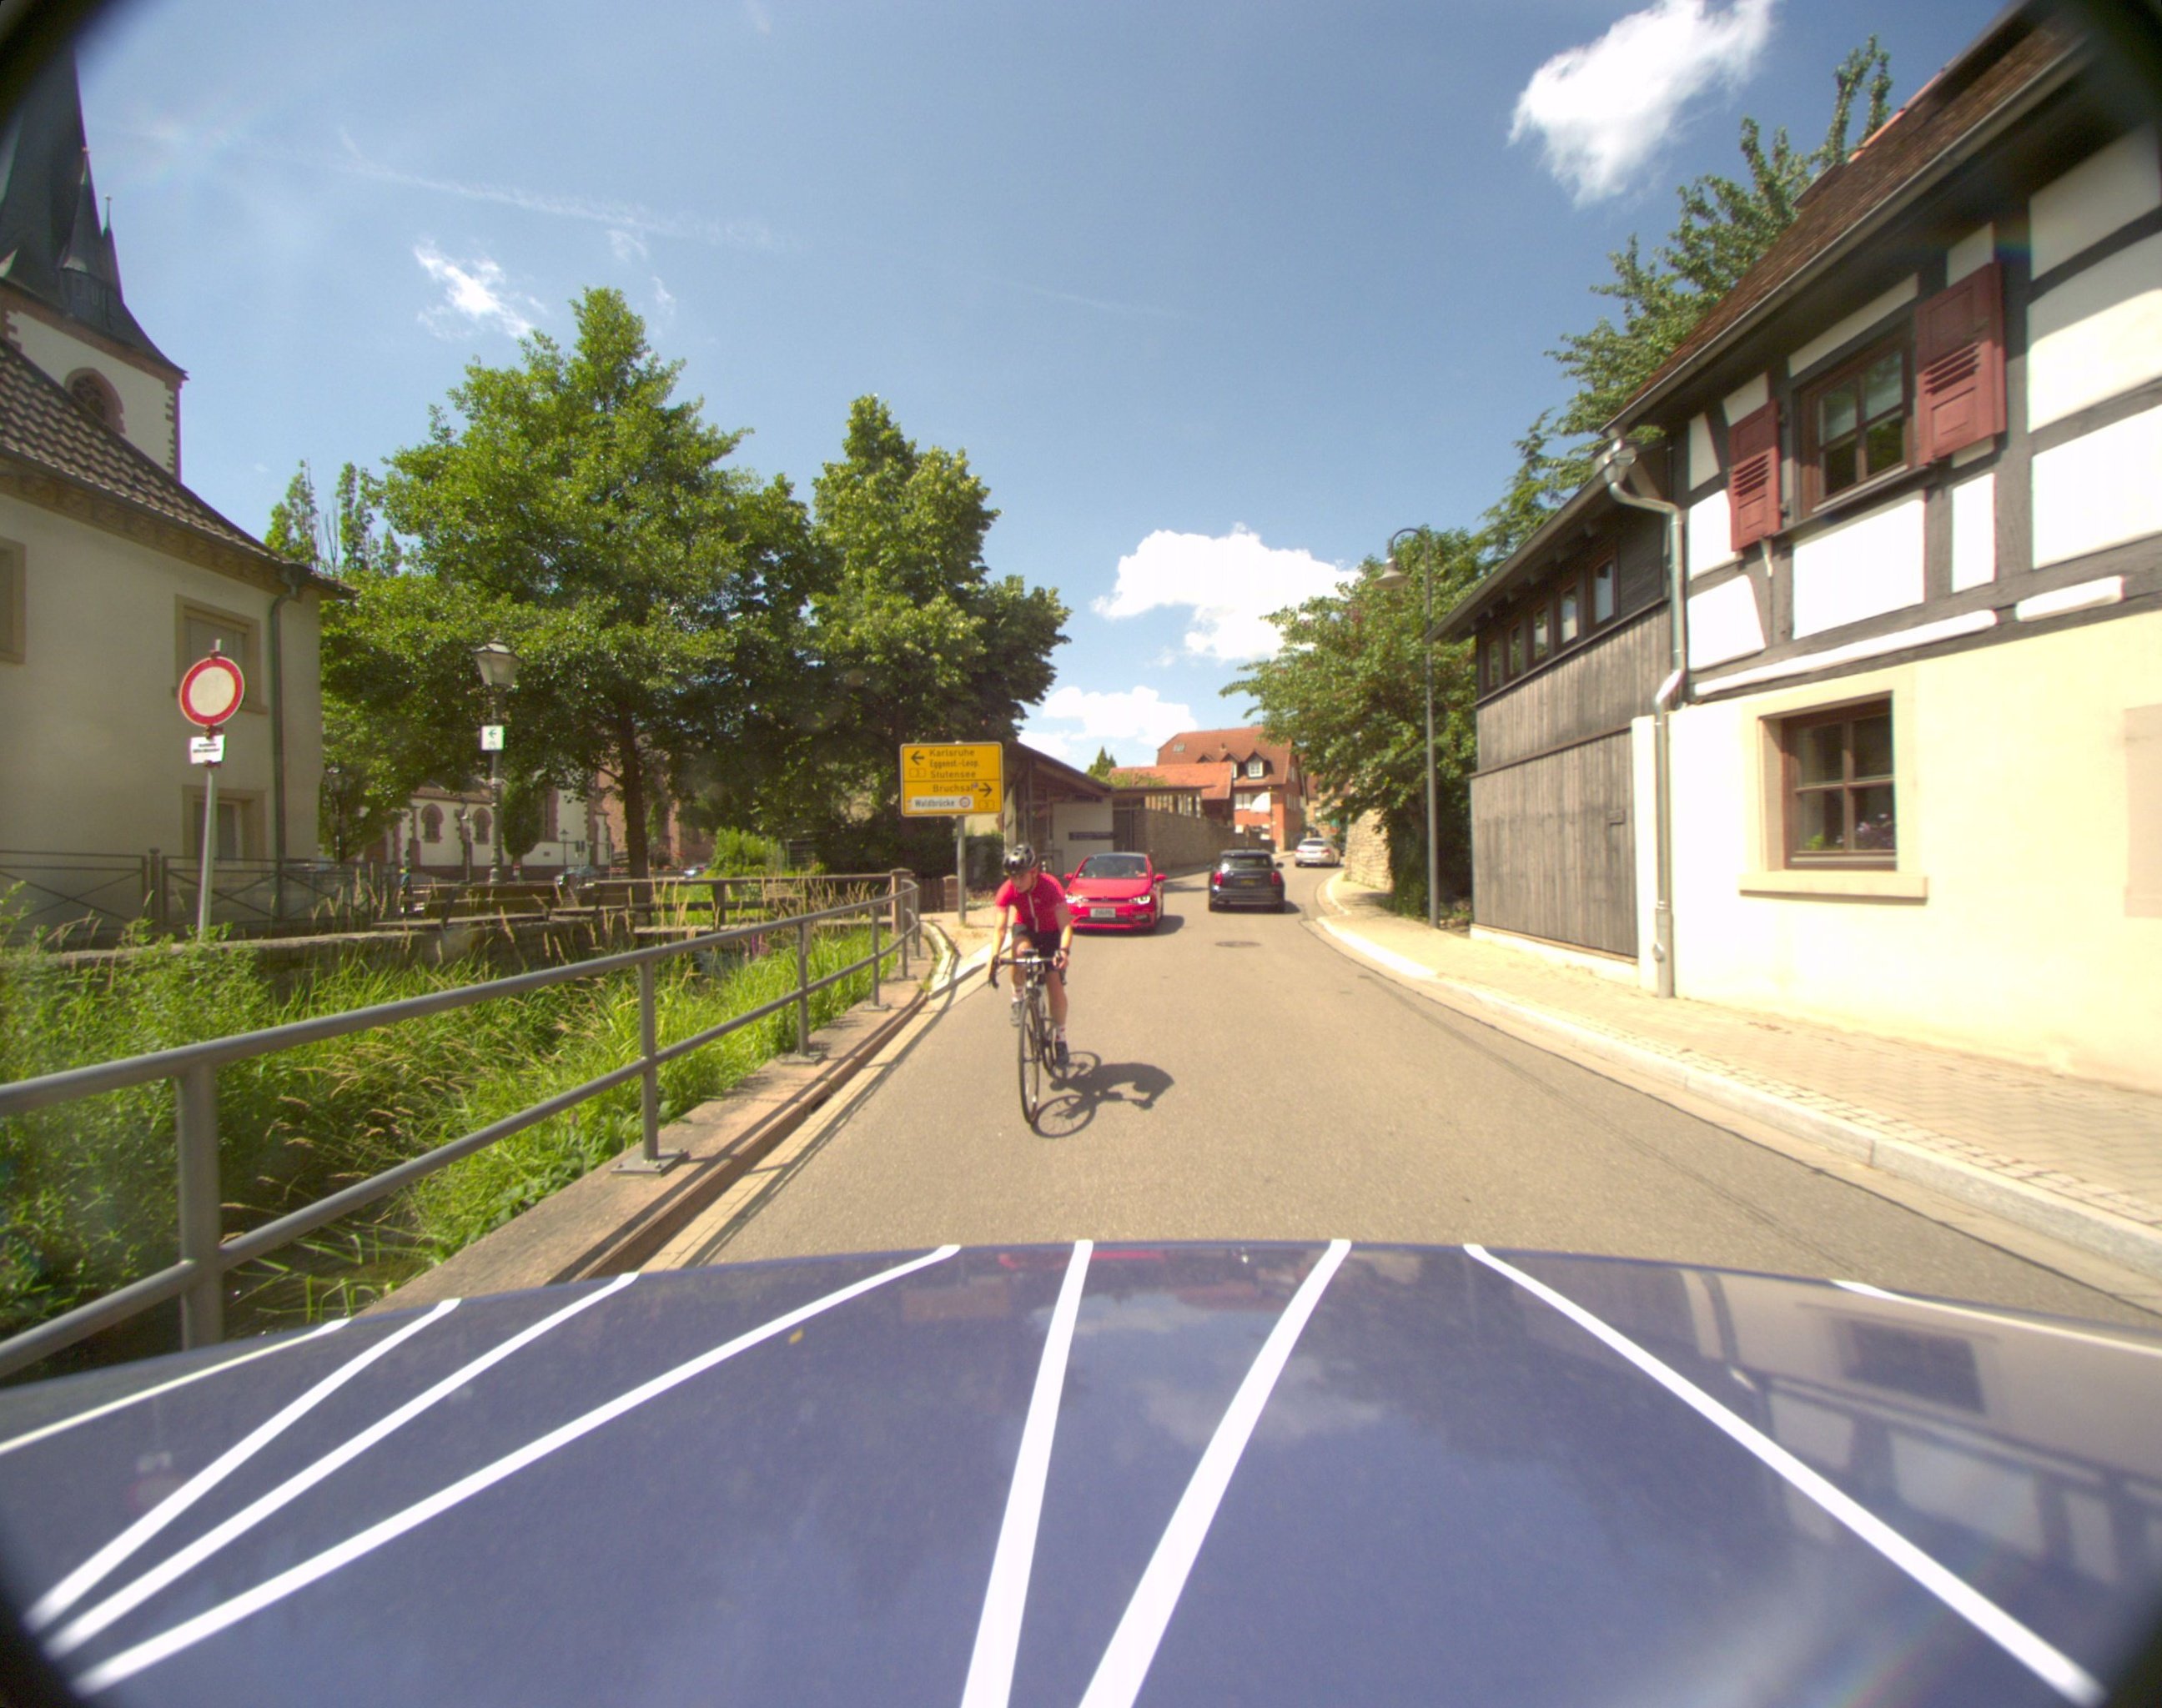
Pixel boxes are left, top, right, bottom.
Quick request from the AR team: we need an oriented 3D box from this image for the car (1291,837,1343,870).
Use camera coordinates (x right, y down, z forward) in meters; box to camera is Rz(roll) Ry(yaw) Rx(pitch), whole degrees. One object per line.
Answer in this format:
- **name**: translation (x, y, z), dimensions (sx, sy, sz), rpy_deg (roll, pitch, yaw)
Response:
- **car**: translation (12.214, -0.072, 39.143), dimensions (1.896, 1.492, 4.620), rpy_deg (3, 3, 24)

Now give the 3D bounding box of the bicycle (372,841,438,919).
- **bicycle**: translation (-18.917, 0.692, 21.323), dimensions (0.784, 2.002, 2.660), rpy_deg (-5, 2, -32)

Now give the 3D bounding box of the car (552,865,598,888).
- **car**: translation (-36.881, 1.627, 55.451), dimensions (1.671, 1.496, 3.805), rpy_deg (-2, 1, -16)

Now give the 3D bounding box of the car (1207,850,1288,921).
- **car**: translation (4.121, 0.658, 18.630), dimensions (1.701, 1.457, 4.439), rpy_deg (1, 1, 14)

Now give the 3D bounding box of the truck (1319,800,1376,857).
- **truck**: translation (19.230, -1.843, 54.417), dimensions (2.414, 3.637, 9.581), rpy_deg (-3, 1, 27)

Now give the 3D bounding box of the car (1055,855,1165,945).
- **car**: translation (0.660, 0.765, 14.348), dimensions (1.668, 1.345, 3.495), rpy_deg (1, 2, 8)

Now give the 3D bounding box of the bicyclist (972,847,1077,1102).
- **bicyclist**: translation (-0.311, 0.662, 4.528), dimensions (0.532, 1.396, 0.755), rpy_deg (0, 0, 2)

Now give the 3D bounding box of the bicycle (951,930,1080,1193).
- **bicycle**: translation (-0.317, 1.104, 4.691), dimensions (0.531, 1.070, 2.054), rpy_deg (0, 0, 2)
